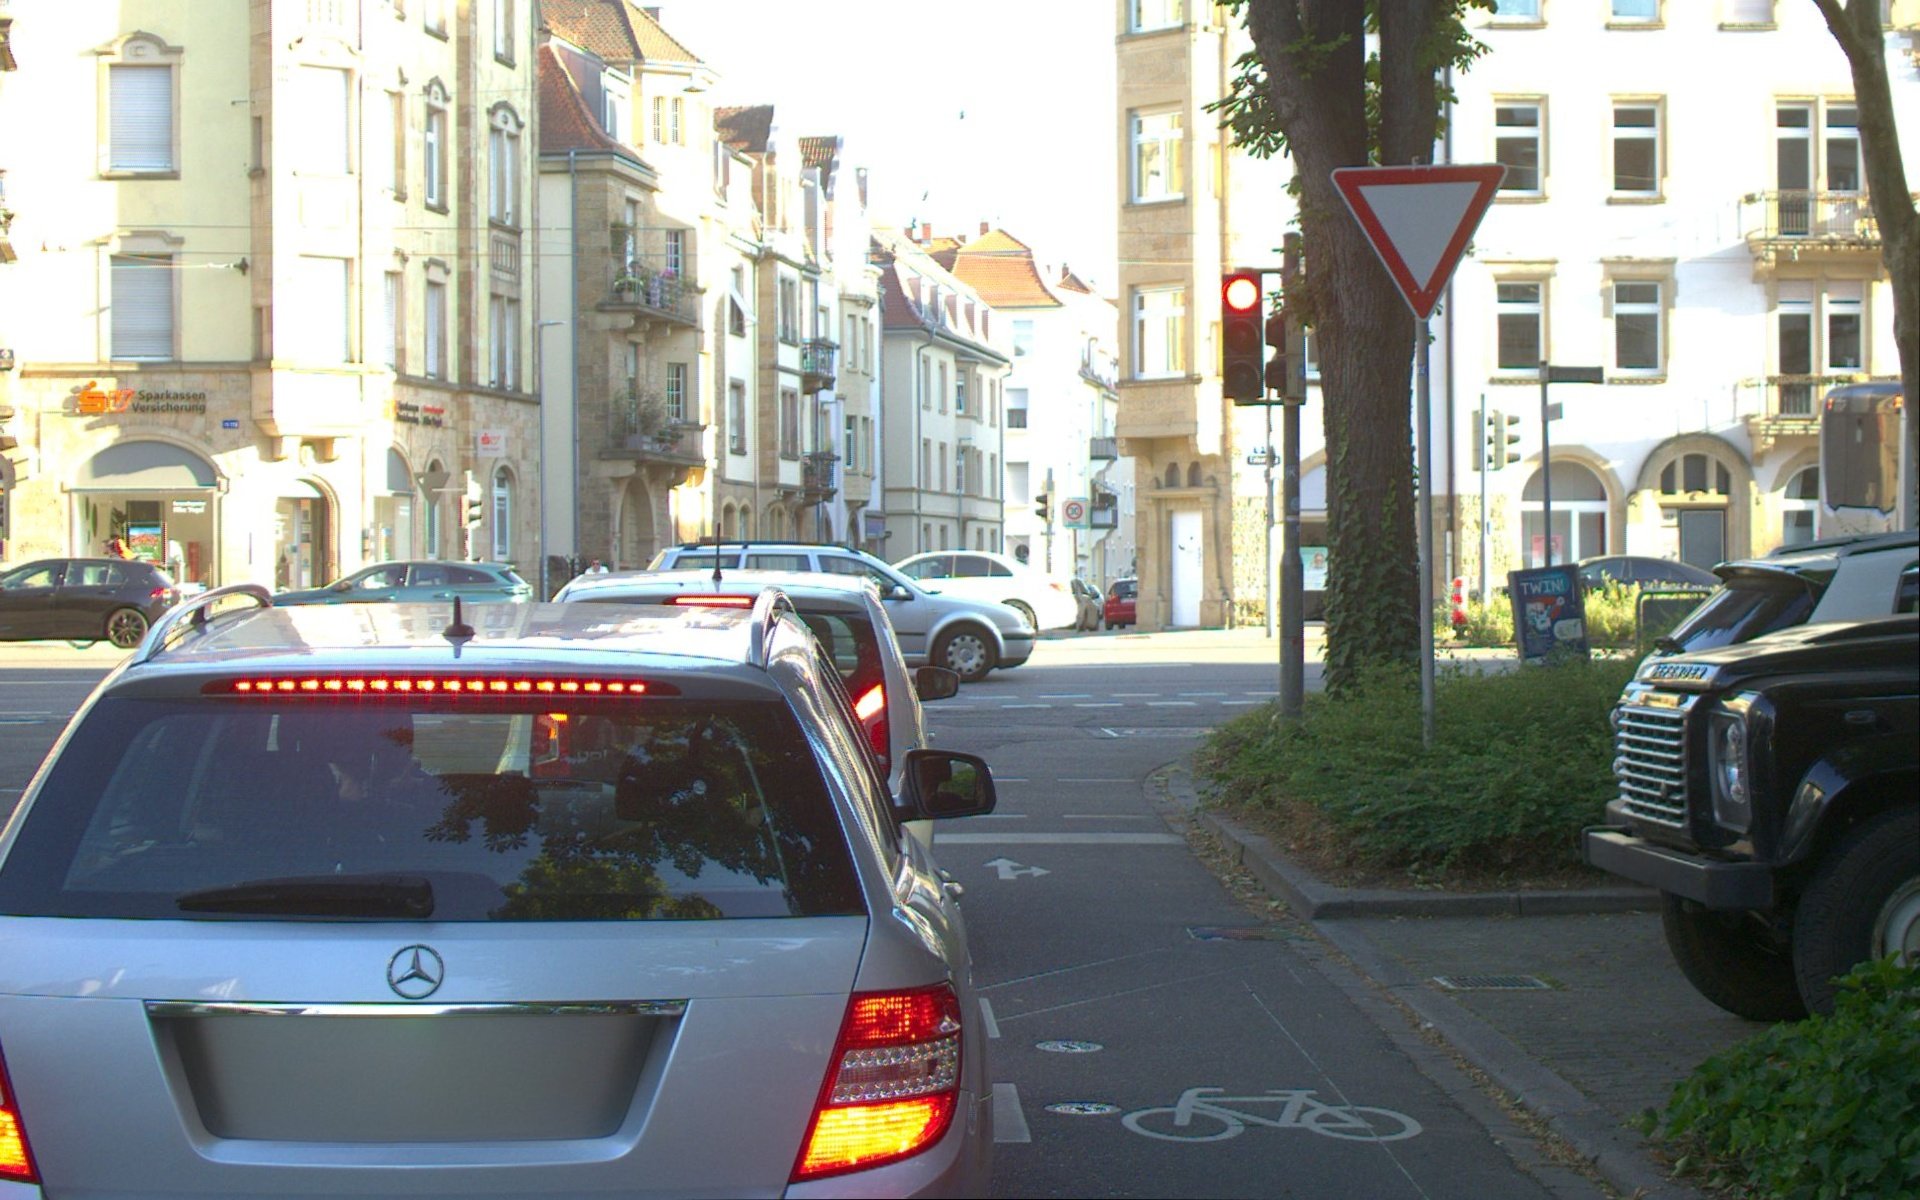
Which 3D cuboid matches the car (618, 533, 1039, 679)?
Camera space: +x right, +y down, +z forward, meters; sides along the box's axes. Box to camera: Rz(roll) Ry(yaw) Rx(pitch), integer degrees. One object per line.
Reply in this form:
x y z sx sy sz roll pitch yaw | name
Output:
-1.431 0.040 36.568 4.344 1.491 1.662 0 1 -7 | car

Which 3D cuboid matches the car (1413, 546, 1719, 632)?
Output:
10.427 -0.198 59.356 4.883 1.447 1.859 0 1 -4 | car

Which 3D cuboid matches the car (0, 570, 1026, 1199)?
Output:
-0.891 0.680 6.958 1.777 1.447 4.548 0 1 -2 | car

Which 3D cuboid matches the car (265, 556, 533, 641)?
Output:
-9.135 -0.039 56.242 4.220 1.344 1.665 0 1 -6 | car

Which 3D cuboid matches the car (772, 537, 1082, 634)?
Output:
-0.549 -0.242 54.007 4.702 1.455 1.837 0 1 -6 | car

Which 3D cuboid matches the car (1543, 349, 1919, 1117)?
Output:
4.141 0.298 10.118 4.465 2.029 1.701 -1 0 -3 | car

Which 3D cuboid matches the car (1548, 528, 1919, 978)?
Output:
4.296 0.498 13.087 3.723 1.564 1.709 -1 0 -4 | car

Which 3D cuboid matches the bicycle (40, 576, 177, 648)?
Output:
-14.998 0.208 60.581 2.256 1.242 0.637 0 1 -5 | bicycle

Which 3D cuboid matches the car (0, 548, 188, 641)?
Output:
-13.848 -0.088 52.027 4.033 1.355 1.664 -1 1 -6 | car

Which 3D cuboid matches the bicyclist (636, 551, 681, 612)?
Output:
-6.438 -0.402 73.467 0.771 1.285 0.752 1 1 11 | bicyclist

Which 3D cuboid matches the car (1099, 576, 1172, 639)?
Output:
5.224 0.205 101.928 1.835 1.738 3.999 0 1 8 | car

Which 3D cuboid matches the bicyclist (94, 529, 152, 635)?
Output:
-14.751 -0.329 60.590 0.891 1.853 0.637 0 1 -5 | bicyclist

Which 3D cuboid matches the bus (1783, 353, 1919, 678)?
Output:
13.033 -0.911 35.759 8.173 3.190 2.912 -1 1 -8 | bus

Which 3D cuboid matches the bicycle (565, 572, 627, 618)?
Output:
-7.763 -0.118 73.382 0.771 0.936 1.939 1 1 11 | bicycle

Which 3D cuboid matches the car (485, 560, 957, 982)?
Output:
-0.908 0.568 14.047 1.619 1.442 4.345 0 1 -2 | car

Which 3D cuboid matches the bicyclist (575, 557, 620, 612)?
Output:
-7.745 -0.340 73.457 0.771 1.152 0.752 1 1 11 | bicyclist
